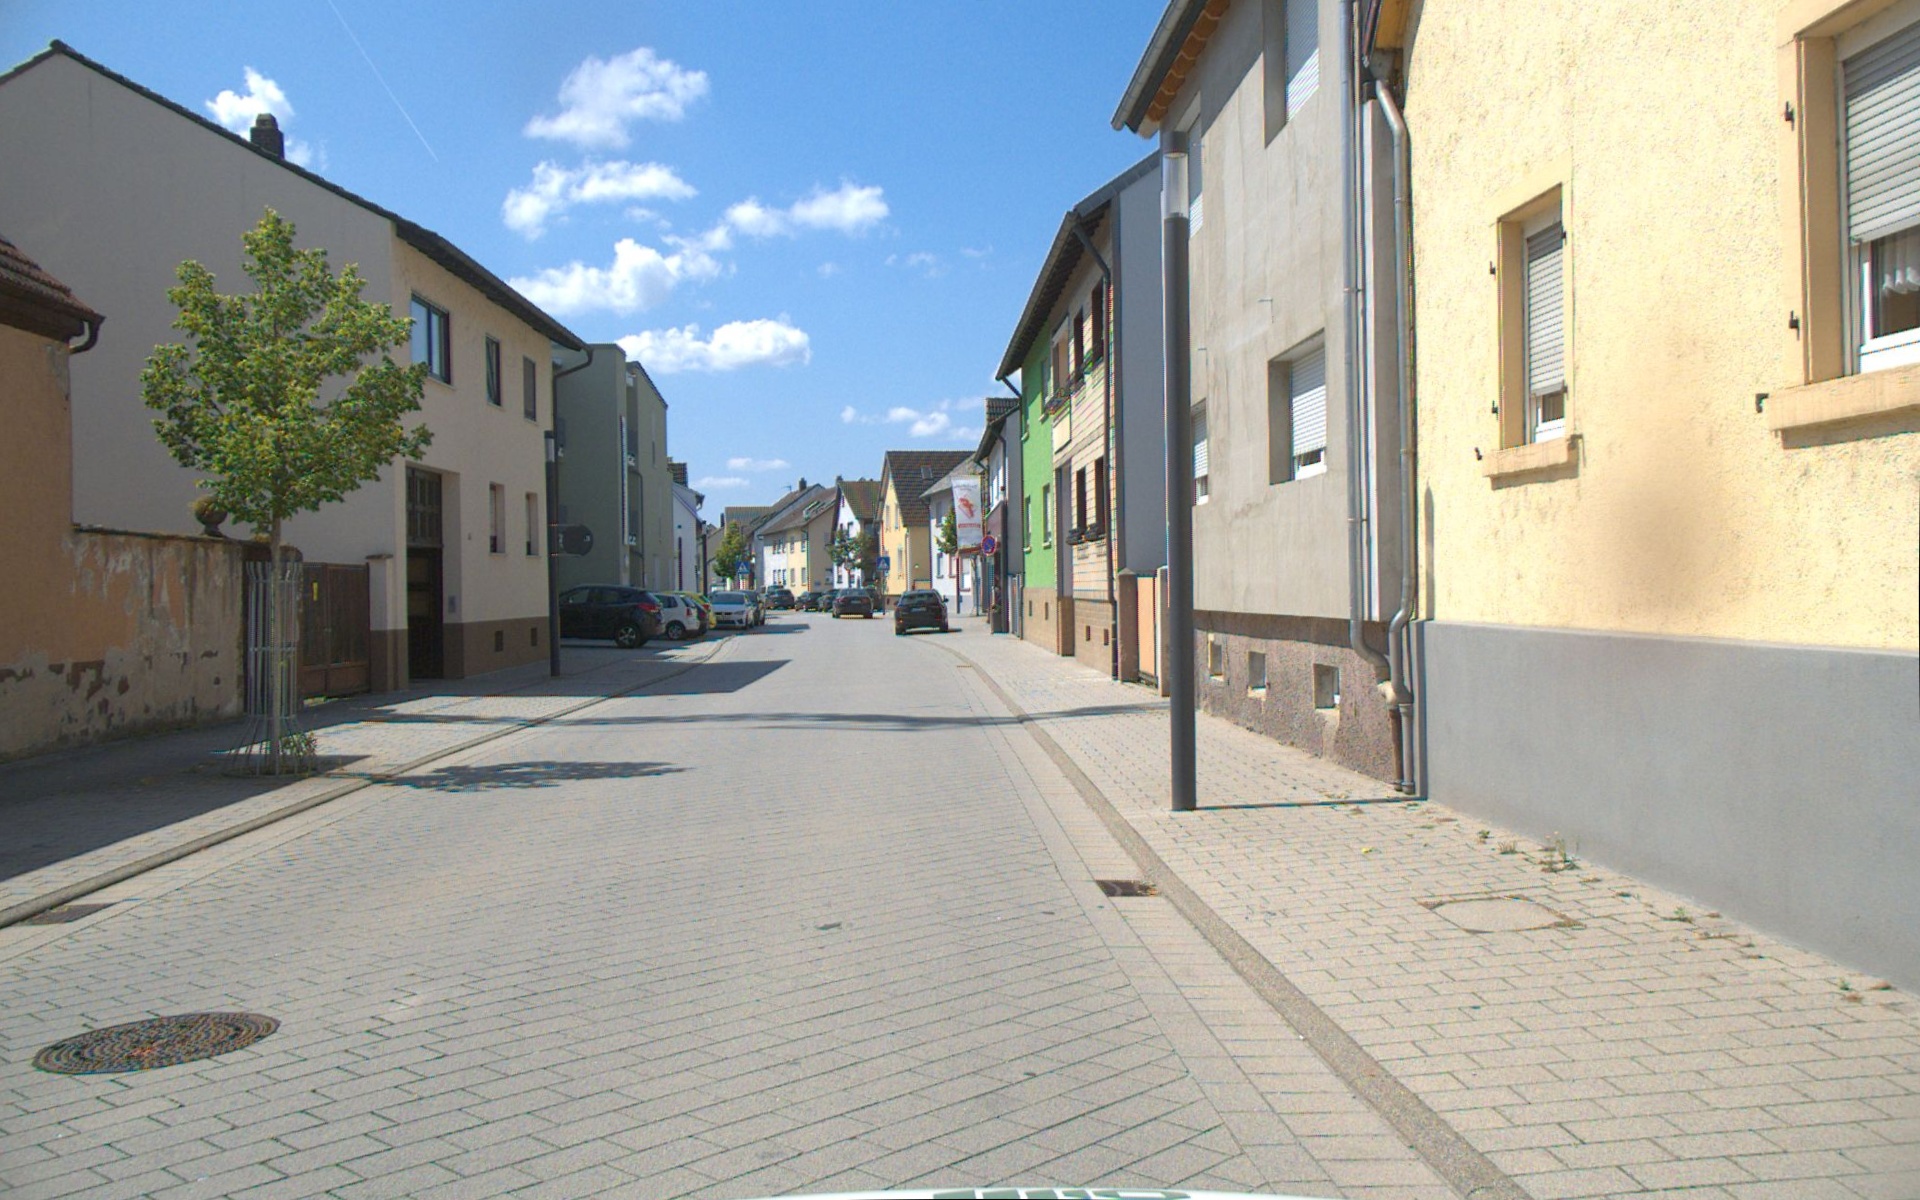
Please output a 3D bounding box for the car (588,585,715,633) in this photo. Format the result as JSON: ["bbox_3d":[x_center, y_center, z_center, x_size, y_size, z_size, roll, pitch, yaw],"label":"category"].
[{"bbox_3d":[-10.234,0.295,55.004,3.907,1.467,1.690,2,0,-2],"label":"car"}]

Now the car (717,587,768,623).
[{"bbox_3d":[-9.409,0.192,71.879,1.777,1.516,4.276,1,1,-2],"label":"car"}]

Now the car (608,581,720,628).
[{"bbox_3d":[-10.332,0.154,57.977,3.617,1.552,1.672,1,0,-2],"label":"car"}]

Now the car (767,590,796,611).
[{"bbox_3d":[-14.515,0.032,134.404,1.846,1.619,3.986,-2,1,-14],"label":"car"}]

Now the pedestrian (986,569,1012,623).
[{"bbox_3d":[1.251,-0.131,53.328,0.714,1.668,0.749,-4,0,1],"label":"pedestrian"}]

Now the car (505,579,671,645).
[{"bbox_3d":[-10.066,0.311,44.979,4.135,1.687,1.783,1,0,-3],"label":"car"}]

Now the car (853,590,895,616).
[{"bbox_3d":[-5.457,0.195,104.466,1.798,1.496,4.260,-3,1,-14],"label":"car"}]

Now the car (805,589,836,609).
[{"bbox_3d":[-10.207,-0.096,121.105,1.682,1.411,3.692,-2,1,-14],"label":"car"}]

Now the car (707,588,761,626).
[{"bbox_3d":[-9.009,0.267,66.198,1.722,1.435,3.876,1,1,-2],"label":"car"}]

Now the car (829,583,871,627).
[{"bbox_3d":[-5.418,0.218,81.413,1.954,2.093,4.370,-1,1,-5],"label":"car"}]

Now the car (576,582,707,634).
[{"bbox_3d":[-10.145,0.254,52.849,3.821,1.528,1.750,1,0,-1],"label":"car"}]

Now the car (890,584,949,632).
[{"bbox_3d":[-1.357,0.238,57.304,1.820,1.484,4.586,-3,1,1],"label":"car"}]

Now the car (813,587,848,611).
[{"bbox_3d":[-8.919,-0.091,113.680,1.815,1.590,3.680,-2,1,-14],"label":"car"}]
